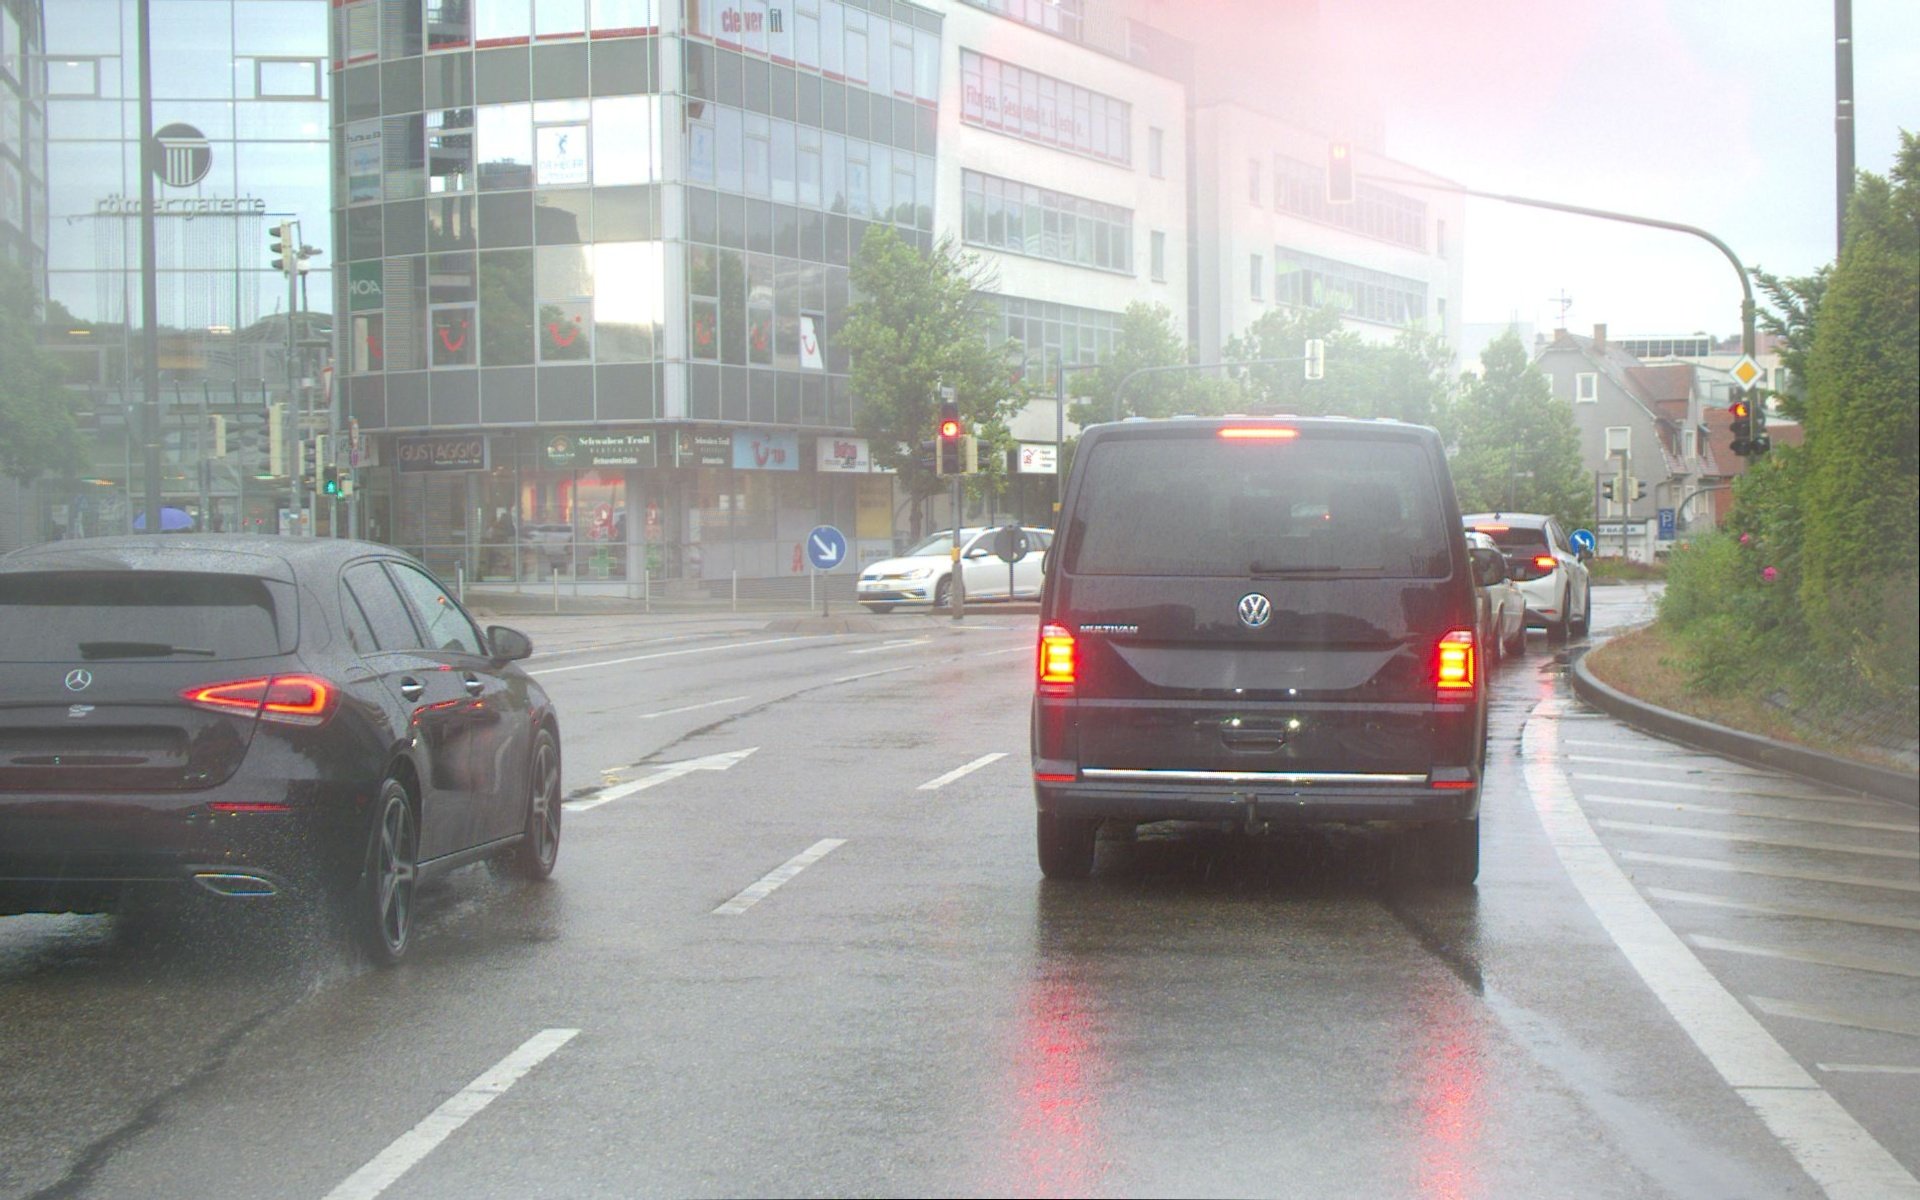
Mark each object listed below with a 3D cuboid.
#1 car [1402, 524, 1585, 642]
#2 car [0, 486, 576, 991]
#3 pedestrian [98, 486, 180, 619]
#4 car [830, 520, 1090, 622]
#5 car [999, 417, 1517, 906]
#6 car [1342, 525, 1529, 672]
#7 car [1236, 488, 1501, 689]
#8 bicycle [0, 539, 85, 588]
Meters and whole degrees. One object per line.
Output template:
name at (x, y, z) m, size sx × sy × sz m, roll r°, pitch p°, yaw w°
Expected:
car at (6.657, -0.206, 42.624) m, size 1.913 × 1.395 × 3.455 m, roll 0°, pitch 0°, yaw 14°
car at (-2.659, 0.370, 12.722) m, size 1.815 × 1.524 × 3.812 m, roll 2°, pitch 2°, yaw 3°
pedestrian at (-12.540, -0.731, 52.479) m, size 1.162 × 2.007 × 1.329 m, roll -1°, pitch 1°, yaw -15°
car at (0.035, -0.525, 59.260) m, size 1.890 × 1.676 × 4.494 m, roll 1°, pitch 2°, yaw 44°
car at (1.415, 0.196, 15.658) m, size 1.996 × 1.887 × 4.586 m, roll 0°, pitch 1°, yaw 7°
car at (5.088, -0.049, 36.398) m, size 1.635 × 1.443 × 4.266 m, roll 1°, pitch 1°, yaw 12°
car at (3.638, -0.153, 30.002) m, size 1.902 × 1.615 × 4.333 m, roll 0°, pitch 1°, yaw 12°
bicycle at (-23.715, -0.942, 88.394) m, size 2.273 × 1.242 × 0.677 m, roll -1°, pitch 1°, yaw -10°
